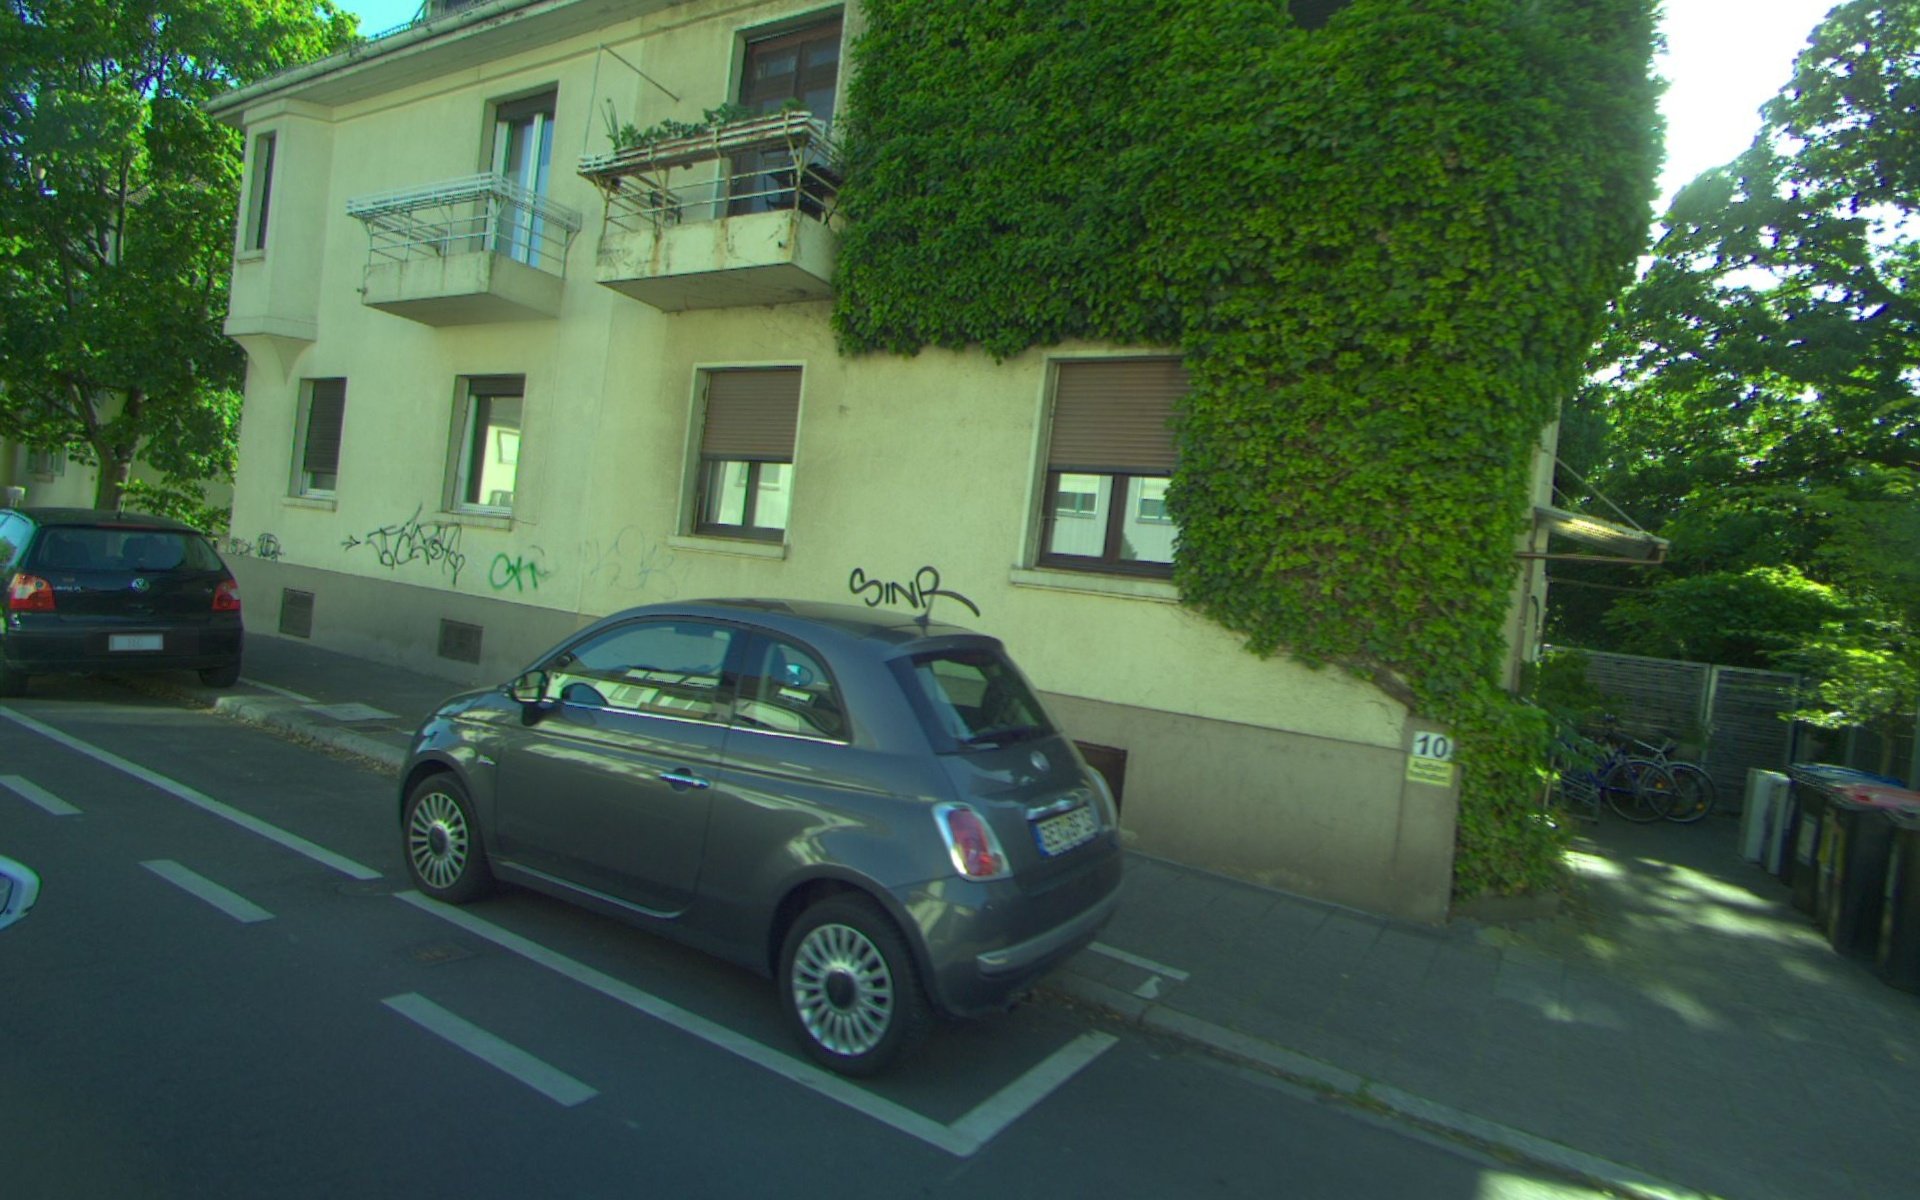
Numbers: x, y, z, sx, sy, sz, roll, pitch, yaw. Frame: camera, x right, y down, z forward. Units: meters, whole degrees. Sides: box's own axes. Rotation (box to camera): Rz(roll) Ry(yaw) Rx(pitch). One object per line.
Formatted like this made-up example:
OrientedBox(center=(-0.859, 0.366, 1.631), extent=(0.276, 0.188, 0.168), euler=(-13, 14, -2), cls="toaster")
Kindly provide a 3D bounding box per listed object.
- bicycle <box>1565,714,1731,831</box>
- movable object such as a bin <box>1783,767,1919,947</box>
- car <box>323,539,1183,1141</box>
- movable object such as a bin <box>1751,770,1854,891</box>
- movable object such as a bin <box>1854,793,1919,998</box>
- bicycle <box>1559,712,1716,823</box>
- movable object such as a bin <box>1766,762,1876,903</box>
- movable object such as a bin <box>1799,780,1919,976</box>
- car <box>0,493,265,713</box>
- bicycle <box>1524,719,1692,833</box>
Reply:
OrientedBox(center=(8.229, 2.046, 12.107), extent=(1.520, 1.097, 0.456), euler=(7, 1, 32), cls="bicycle")
OrientedBox(center=(6.618, 1.860, 7.437), extent=(0.586, 1.088, 0.734), euler=(7, 1, 29), cls="movable object such as a bin")
OrientedBox(center=(-1.008, 0.741, 4.570), extent=(3.489, 1.543, 1.605), euler=(7, -1, 30), cls="car")
OrientedBox(center=(7.688, 2.082, 9.198), extent=(0.534, 0.926, 0.538), euler=(7, 1, 29), cls="movable object such as a bin")
OrientedBox(center=(5.789, 1.751, 5.861), extent=(0.628, 1.070, 0.673), euler=(7, 1, 29), cls="movable object such as a bin")
OrientedBox(center=(8.529, 2.092, 12.728), extent=(1.520, 1.097, 0.456), euler=(7, 1, 32), cls="bicycle")
OrientedBox(center=(7.429, 1.986, 8.704), extent=(0.522, 1.037, 0.538), euler=(7, 1, 29), cls="movable object such as a bin")
OrientedBox(center=(6.081, 1.808, 6.615), extent=(0.628, 1.070, 0.755), euler=(7, 1, 29), cls="movable object such as a bin")
OrientedBox(center=(-7.940, -0.073, 8.973), extent=(3.713, 1.583, 1.665), euler=(6, 0, 37), cls="car")
OrientedBox(center=(7.503, 2.020, 11.717), extent=(1.520, 1.007, 0.455), euler=(7, 1, 32), cls="bicycle")
